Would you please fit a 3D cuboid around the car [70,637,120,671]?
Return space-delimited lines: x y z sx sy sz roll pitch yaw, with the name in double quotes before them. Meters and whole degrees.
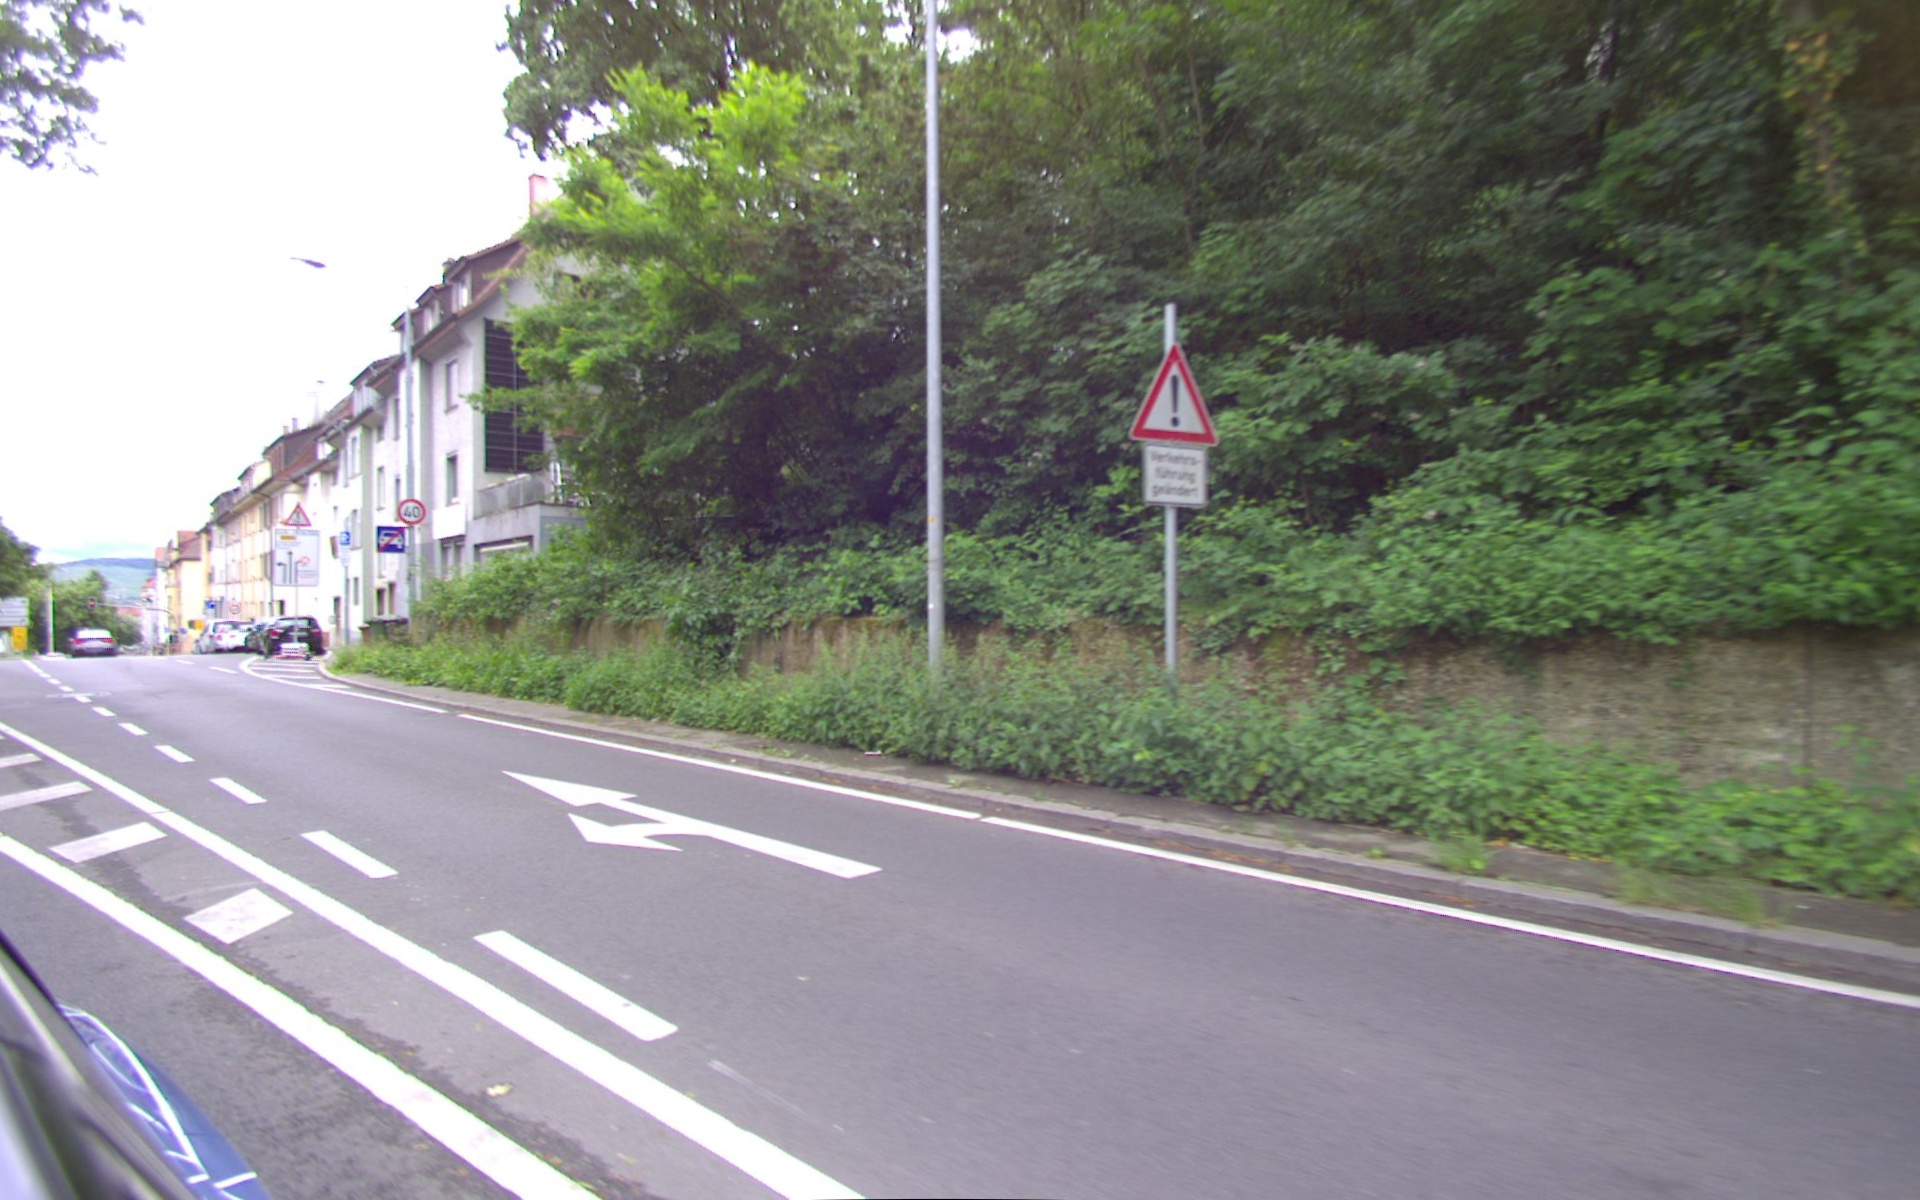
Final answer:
"car" -48.258 2.979 56.431 1.848 1.711 4.939 0 -1 -44

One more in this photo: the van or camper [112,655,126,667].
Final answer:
"van or camper" -144.318 10.479 173.711 1.884 1.775 4.662 -1 -3 -40

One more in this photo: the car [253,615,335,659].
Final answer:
"car" -23.879 1.350 36.213 1.968 1.411 4.525 0 -3 -40

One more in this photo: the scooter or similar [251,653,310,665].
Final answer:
"scooter or similar" -19.997 1.728 29.780 1.096 0.290 1.114 -1 -2 34

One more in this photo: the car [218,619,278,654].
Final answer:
"car" -33.474 1.739 47.510 1.968 1.485 4.164 0 -3 -40

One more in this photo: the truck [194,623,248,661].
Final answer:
"truck" -40.617 2.335 55.585 1.969 1.935 5.354 0 -3 -41

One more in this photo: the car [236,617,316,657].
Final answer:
"car" -27.527 1.513 40.692 1.970 1.434 4.215 0 -4 -44

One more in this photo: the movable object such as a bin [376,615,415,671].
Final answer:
"movable object such as a bin" -12.640 0.960 22.675 0.429 1.194 0.576 -2 1 34

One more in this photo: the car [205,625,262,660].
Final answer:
"car" -36.817 2.164 51.235 1.969 1.564 4.388 0 -3 -41

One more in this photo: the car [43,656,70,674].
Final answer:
"car" -81.451 5.856 91.251 1.724 1.478 4.592 0 -4 -41

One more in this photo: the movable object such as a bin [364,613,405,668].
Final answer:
"movable object such as a bin" -13.057 0.916 22.960 0.491 1.194 0.600 -2 1 34

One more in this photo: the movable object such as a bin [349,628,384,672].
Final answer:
"movable object such as a bin" -13.742 1.160 23.418 0.443 0.974 0.511 -2 1 34

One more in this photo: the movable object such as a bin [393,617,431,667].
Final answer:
"movable object such as a bin" -11.904 0.904 21.983 0.429 1.032 0.551 -2 1 34
